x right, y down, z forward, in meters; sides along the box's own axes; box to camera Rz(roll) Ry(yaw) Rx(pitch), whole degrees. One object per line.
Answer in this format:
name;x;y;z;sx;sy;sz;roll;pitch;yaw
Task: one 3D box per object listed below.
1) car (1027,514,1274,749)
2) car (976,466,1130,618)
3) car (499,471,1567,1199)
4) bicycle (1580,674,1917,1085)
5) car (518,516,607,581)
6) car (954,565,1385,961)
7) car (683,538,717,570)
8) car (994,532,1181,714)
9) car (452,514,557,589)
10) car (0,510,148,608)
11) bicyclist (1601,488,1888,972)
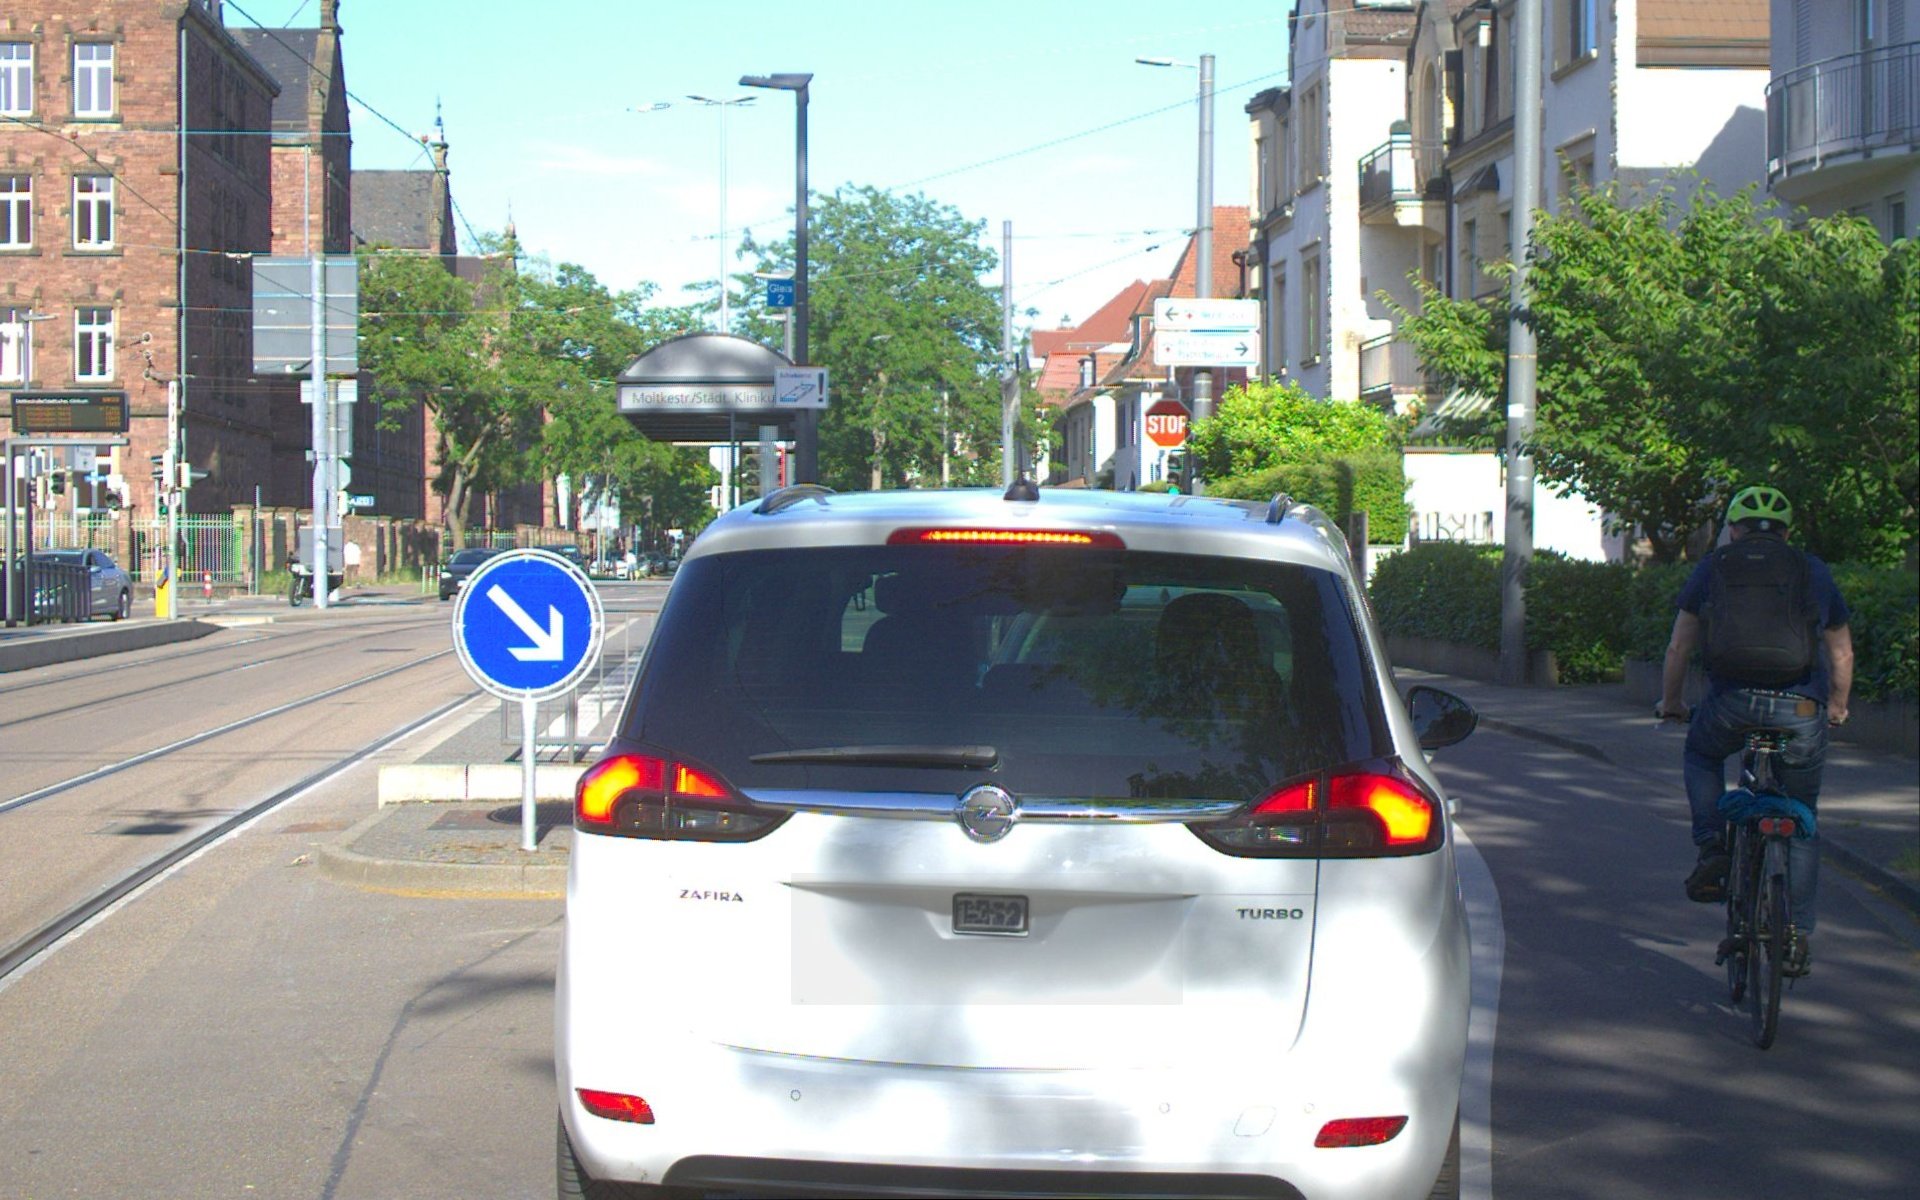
car;1.379;0.179;26.124;1.569;1.609;3.784;2;1;-1
car;1.047;-0.685;40.236;1.596;1.629;3.901;2;1;-1
car;0.105;0.554;8.101;1.878;1.580;4.000;1;1;-1
bicycle;2.511;0.850;11.154;0.642;1.139;1.902;0;1;0
car;-12.749;-1.645;110.590;1.994;2.007;3.999;1;1;6
car;0.947;0.589;14.776;1.569;1.396;3.783;2;1;5
car;-16.543;-2.925;218.524;1.993;2.007;4.001;1;1;-6
car;1.201;0.175;33.863;1.596;1.629;3.901;2;1;-1
car;-12.618;-1.329;95.406;1.994;2.007;3.999;1;1;6
car;-16.880;-0.752;64.615;1.827;1.782;4.326;1;0;6
bicyclist;2.520;0.394;11.145;0.644;1.482;1.115;1;0;-1
